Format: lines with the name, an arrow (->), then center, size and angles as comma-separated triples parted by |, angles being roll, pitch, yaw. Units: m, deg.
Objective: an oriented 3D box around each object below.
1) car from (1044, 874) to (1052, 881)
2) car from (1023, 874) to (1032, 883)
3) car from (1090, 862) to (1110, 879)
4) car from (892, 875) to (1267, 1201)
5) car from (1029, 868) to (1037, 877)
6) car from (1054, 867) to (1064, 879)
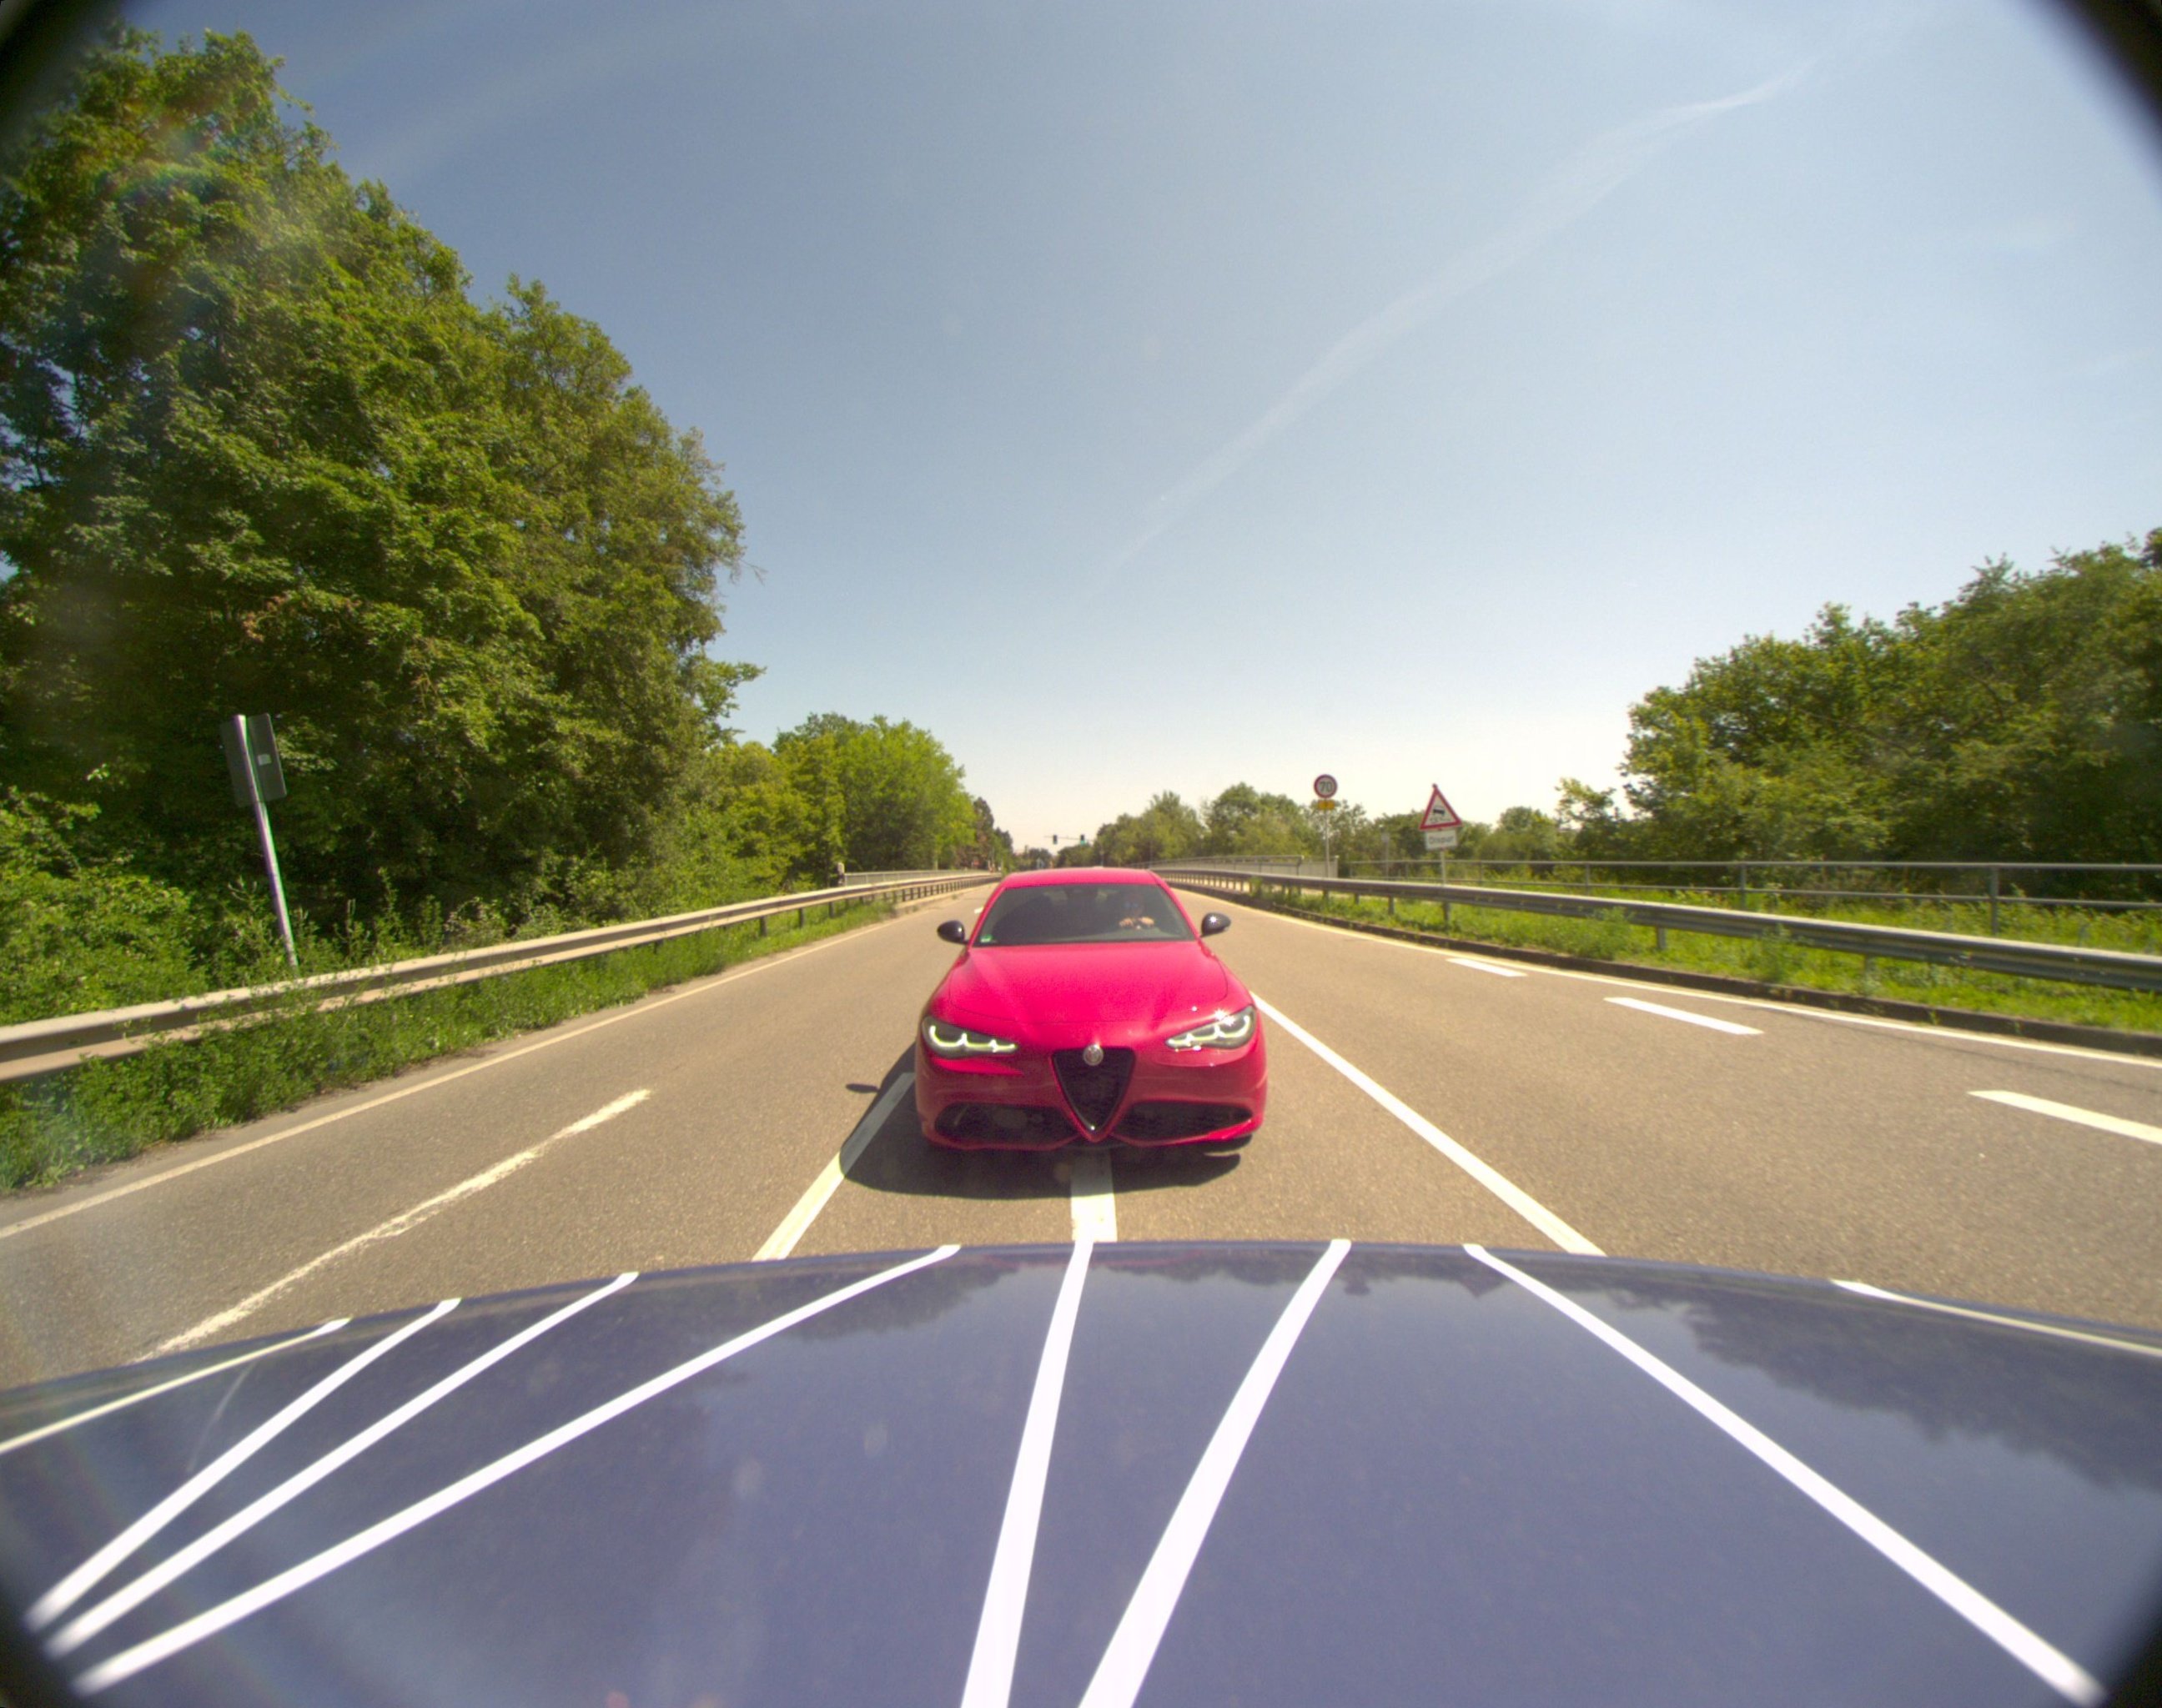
car -> -8.830, 6.224, 202.819 | 1.848, 1.758, 3.999 | -1, 0, -1
car -> -9.304, 4.280, 132.946 | 1.416, 1.499, 3.315 | -1, 0, -3
car -> 1.776, 1.554, 72.048 | 1.649, 1.410, 3.765 | -2, 0, -1
car -> -0.048, 0.952, 5.843 | 1.801, 1.448, 4.284 | -1, 0, -1
car -> -8.914, 3.465, 141.481 | 1.476, 1.565, 3.487 | -1, 0, -4
car -> -4.699, 4.091, 164.026 | 1.996, 2.354, 5.180 | -2, 0, -3
